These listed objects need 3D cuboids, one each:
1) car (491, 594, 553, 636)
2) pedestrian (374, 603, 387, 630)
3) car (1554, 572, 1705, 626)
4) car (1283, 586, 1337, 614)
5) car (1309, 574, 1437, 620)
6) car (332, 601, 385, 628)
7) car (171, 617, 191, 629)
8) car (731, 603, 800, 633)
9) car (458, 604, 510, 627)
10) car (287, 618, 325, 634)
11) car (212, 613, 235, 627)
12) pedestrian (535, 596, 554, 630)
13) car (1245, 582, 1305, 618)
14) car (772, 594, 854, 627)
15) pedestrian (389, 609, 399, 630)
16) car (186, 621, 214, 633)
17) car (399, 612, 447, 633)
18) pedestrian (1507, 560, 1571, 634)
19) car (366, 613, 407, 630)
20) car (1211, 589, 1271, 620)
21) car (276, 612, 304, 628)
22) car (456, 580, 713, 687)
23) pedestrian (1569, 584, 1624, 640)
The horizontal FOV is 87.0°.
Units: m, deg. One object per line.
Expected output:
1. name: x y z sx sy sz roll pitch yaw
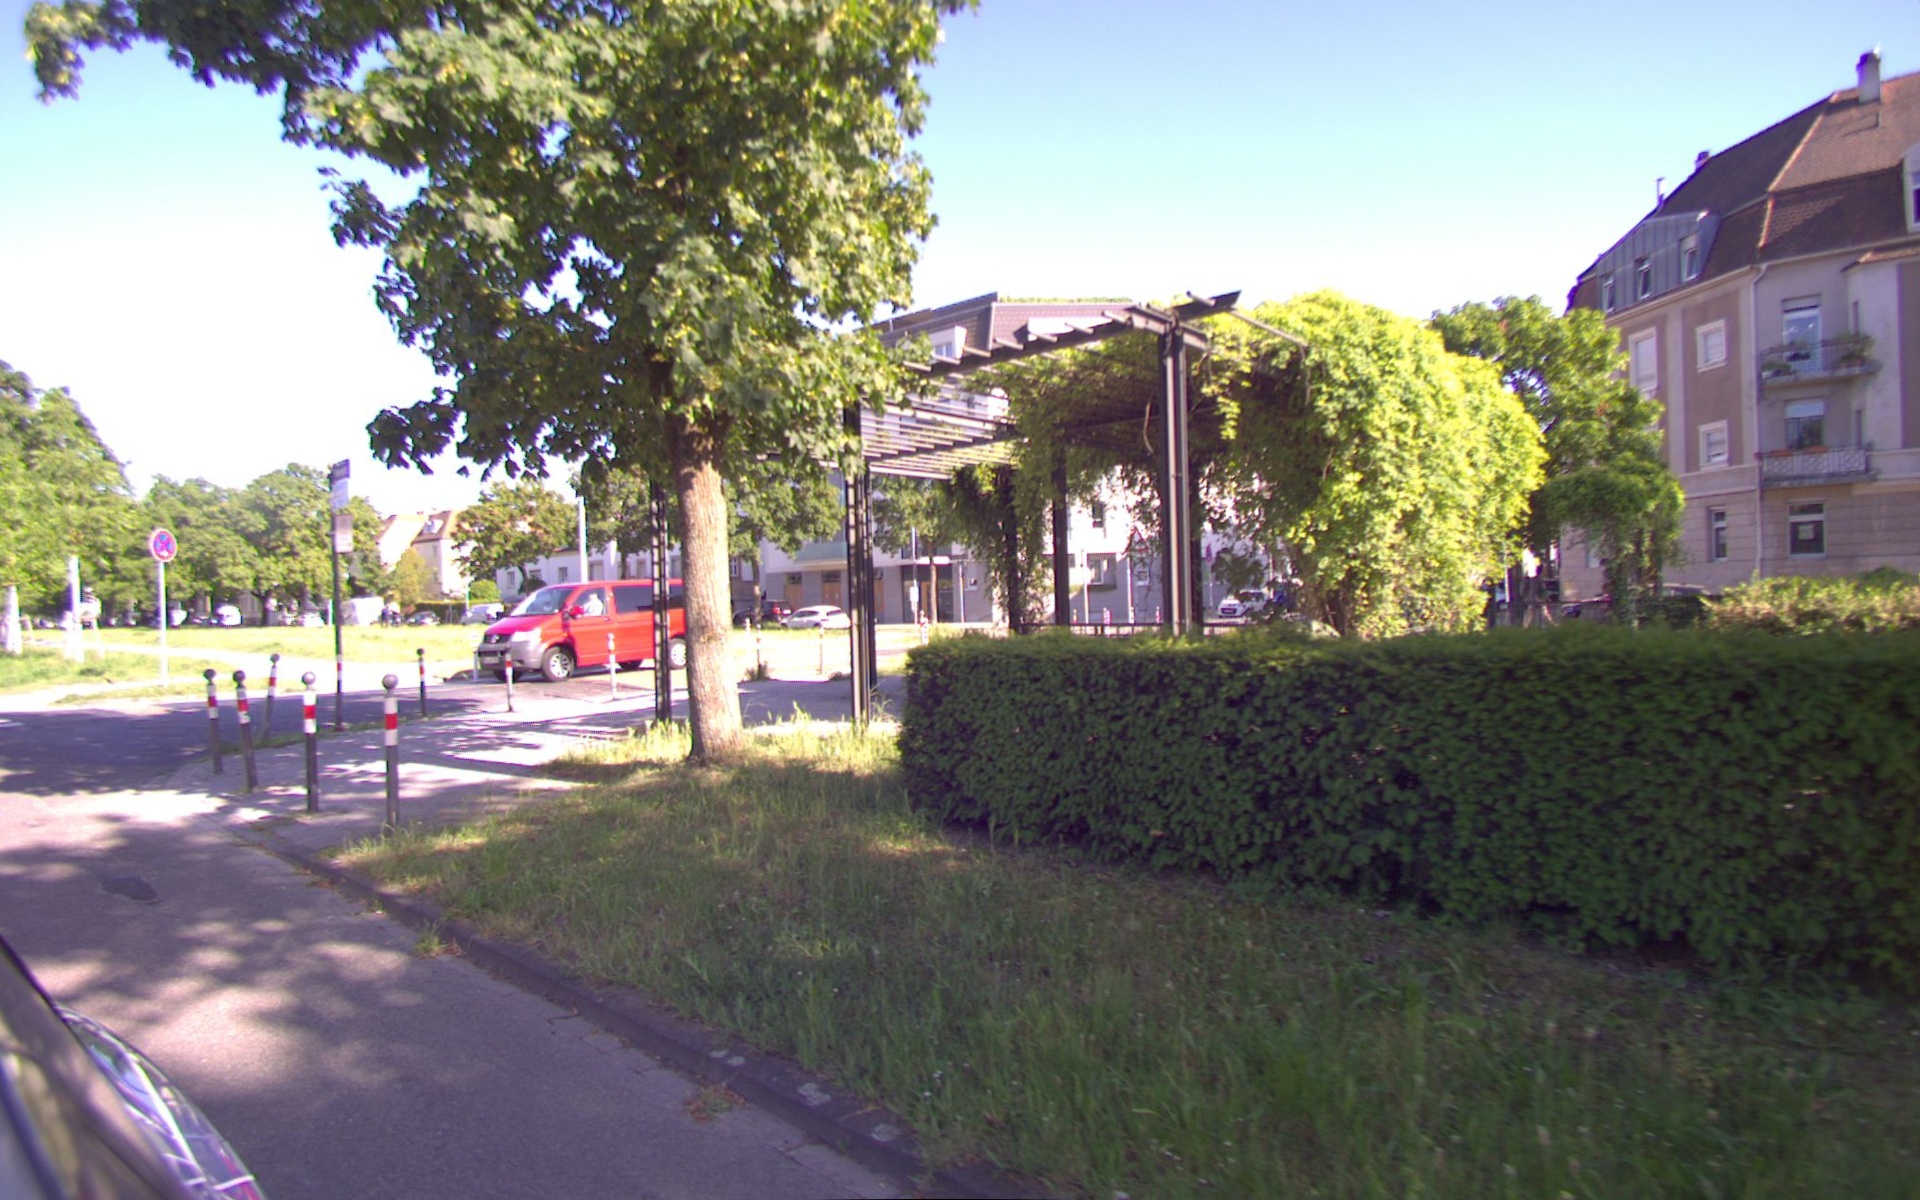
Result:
1. car: -30.339 1.029 70.096 4.287 2.603 2.164 -2 4 42
2. pedestrian: -41.903 1.178 73.181 0.629 1.891 0.636 -1 0 40
3. car: 21.357 -0.016 32.333 3.899 1.494 1.845 -2 3 38
4. car: 21.103 -0.032 60.954 1.665 1.553 4.011 2 3 41
5. car: 15.230 -0.107 37.401 4.009 1.494 1.845 -1 3 38
6. car: -54.462 1.314 91.617 5.919 2.351 2.516 -1 0 42
7. car: -124.460 3.720 161.595 3.993 1.859 1.840 -1 0 42
8. car: -11.923 1.108 61.861 4.288 1.695 1.870 -2 1 42
9. car: -35.281 1.192 74.972 4.287 1.611 2.057 -1 0 42
10. car: -65.900 2.588 101.958 4.727 1.477 2.052 -1 0 42
11. car: -103.700 2.799 142.482 3.993 1.859 1.840 -1 0 42
12. pedestrian: -23.241 0.713 56.586 0.629 1.891 0.715 -2 0 40
13. car: 17.707 -0.034 56.841 1.665 1.849 4.199 2 3 41
14. car: -7.296 0.523 50.055 3.992 1.443 1.717 -2 4 41
15. pedestrian: -41.201 1.444 73.652 0.535 1.516 0.490 -2 0 41
16. car: -99.429 3.477 132.431 4.727 1.477 2.052 -1 0 42
17. car: -43.708 1.811 82.335 4.287 1.611 2.057 -1 0 42
18. pedestrian: 14.115 -0.061 24.708 1.083 1.687 0.907 -5 -2 22
19. car: -49.519 1.852 87.380 4.109 1.354 1.908 -1 0 42
20. car: 14.890 0.211 53.457 1.665 1.459 3.638 2 3 40
21. car: -80.393 2.425 121.487 3.993 1.859 1.840 -1 0 42
22. car: -7.662 0.601 21.168 1.892 1.975 4.830 -1 0 34
23. pedestrian: 13.332 0.246 21.202 0.875 1.147 0.591 -1 0 42
